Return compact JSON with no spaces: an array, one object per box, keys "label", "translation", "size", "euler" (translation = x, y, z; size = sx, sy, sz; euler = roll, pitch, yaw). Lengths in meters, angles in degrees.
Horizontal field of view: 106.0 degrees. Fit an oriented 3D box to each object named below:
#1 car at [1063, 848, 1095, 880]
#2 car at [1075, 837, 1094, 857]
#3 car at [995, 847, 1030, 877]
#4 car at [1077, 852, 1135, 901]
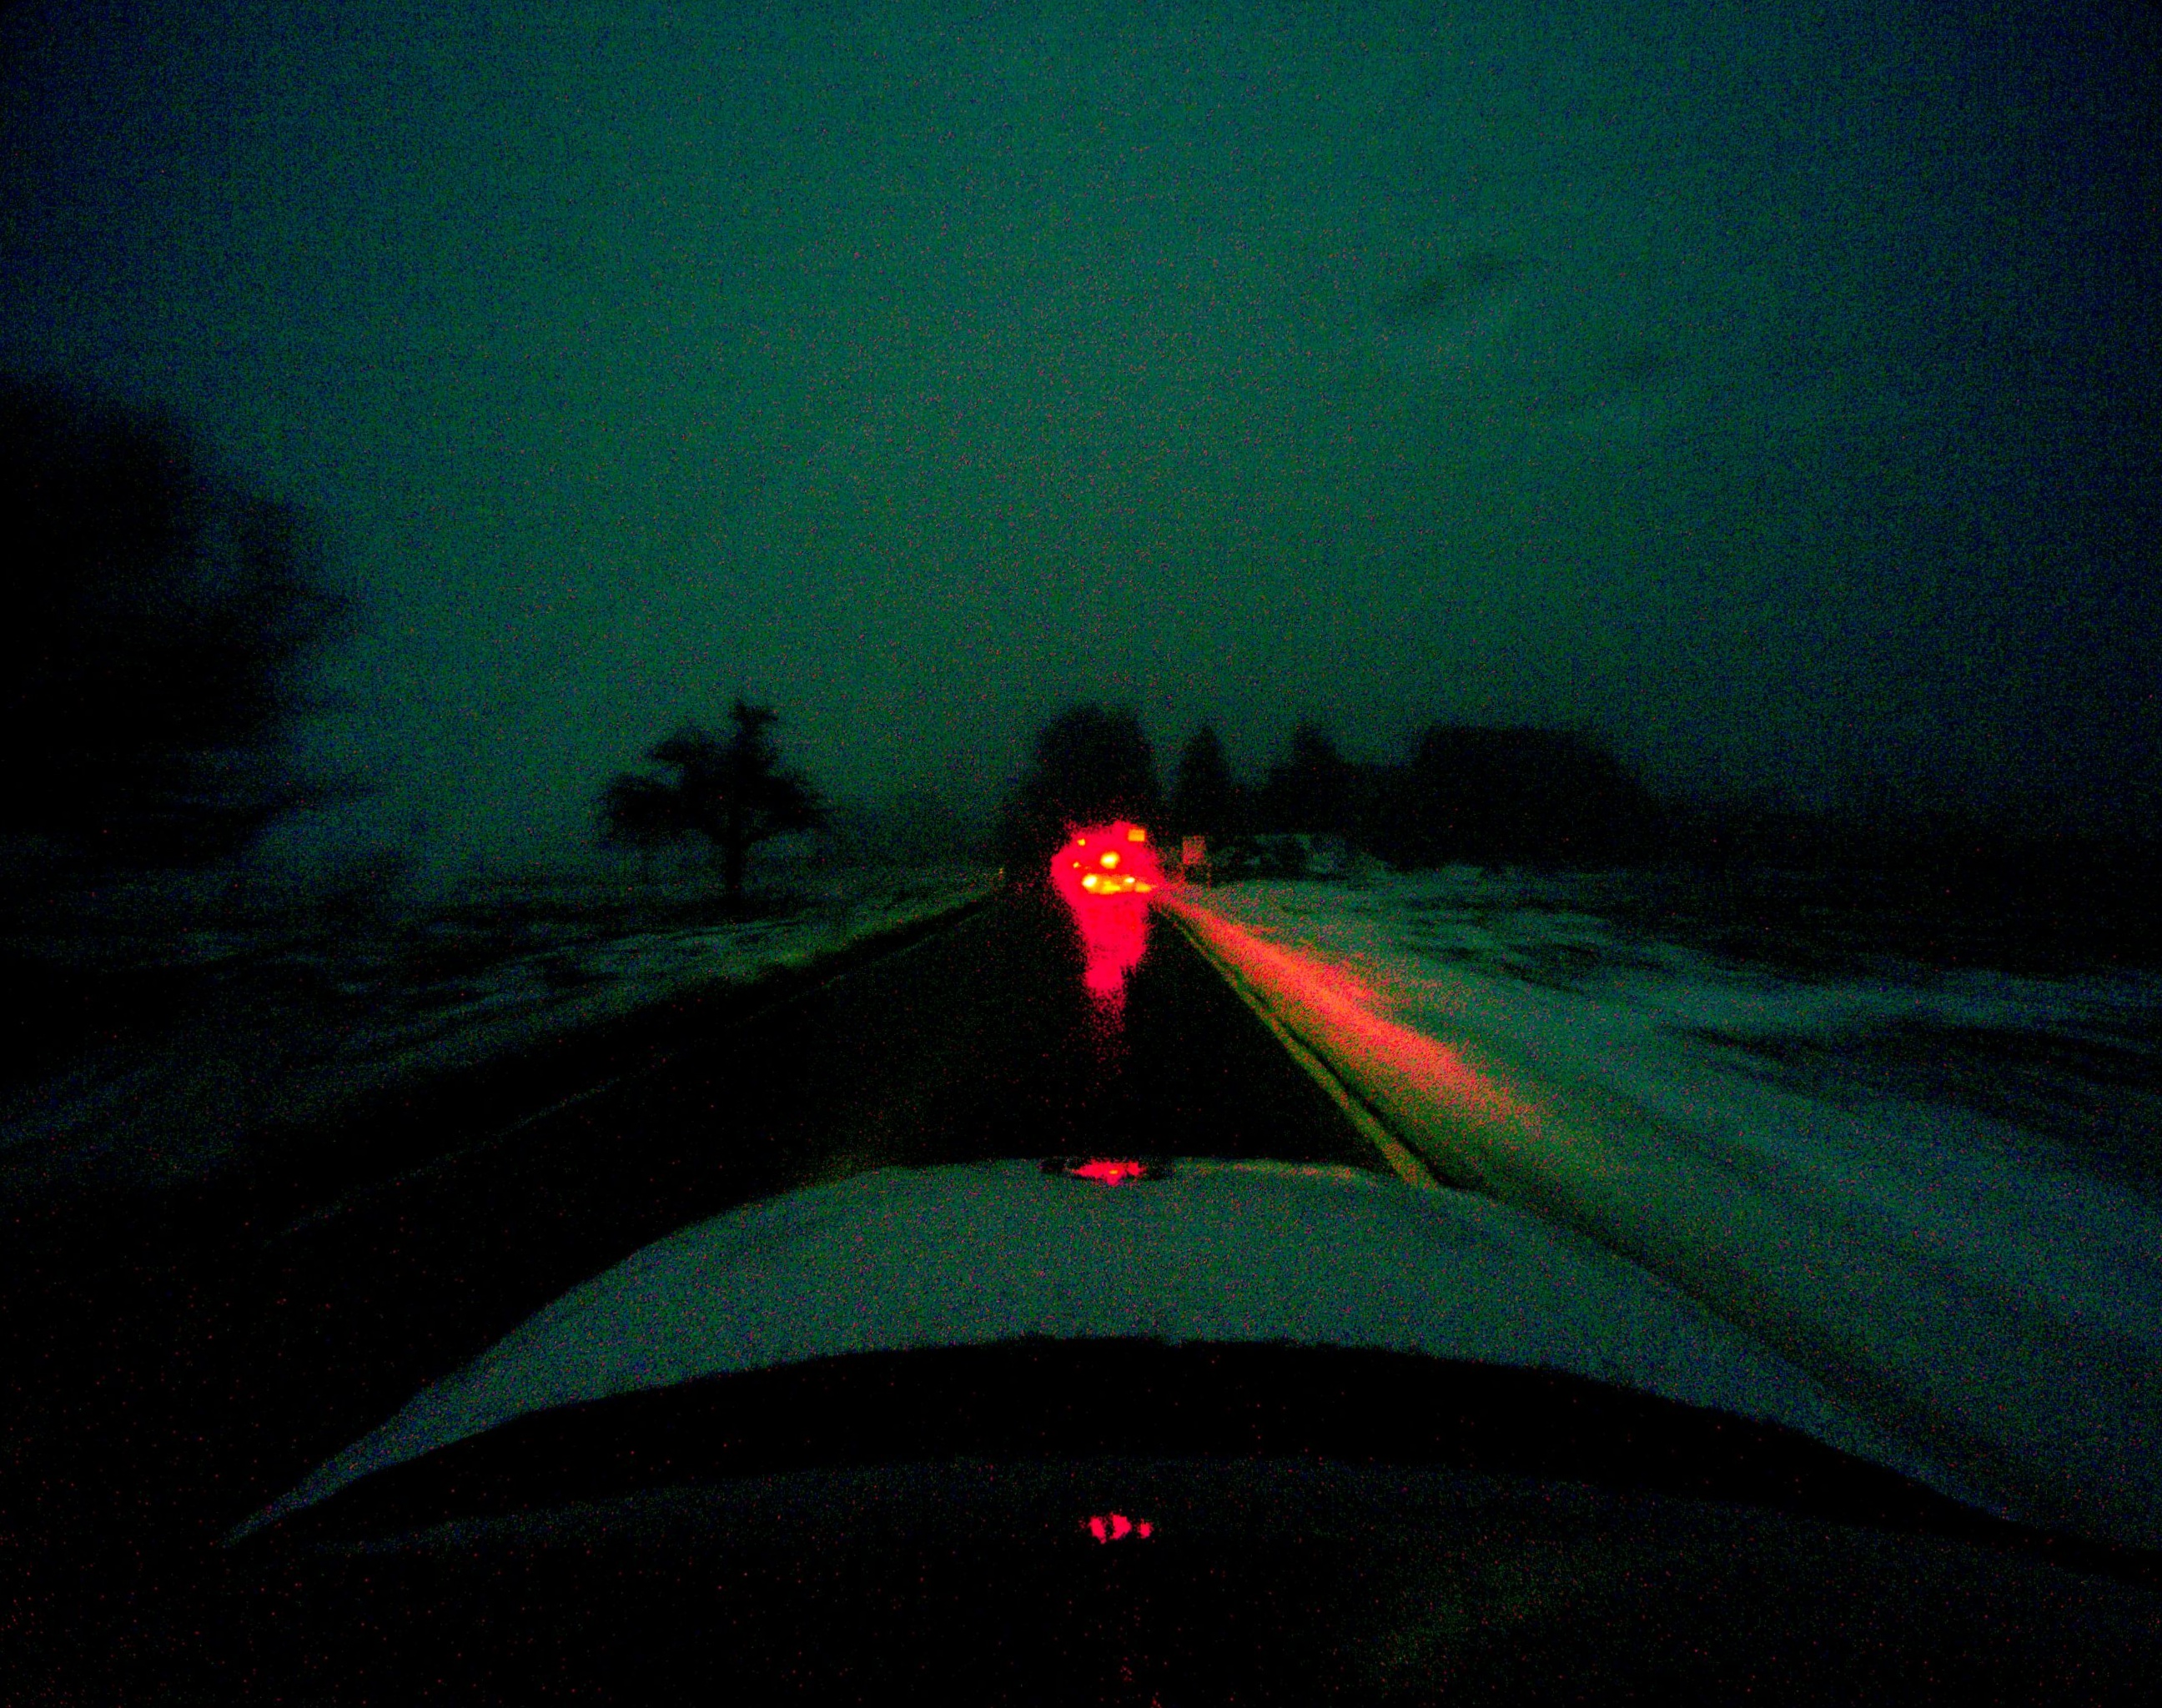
[{"label":"car","translation":[-0.088,0.485,41.227],"size":[1.473,1.508,3.054],"euler":[-2,0,2]},{"label":"car","translation":[0.320,-0.570,66.901],"size":[1.473,1.508,3.054],"euler":[-2,-1,2]},{"label":"car","translation":[-3.693,0.431,44.445],"size":[1.517,1.508,3.054],"euler":[-2,-1,2]},{"label":"car","translation":[0.786,0.763,27.593],"size":[1.702,1.463,3.997],"euler":[2,-2,-2]}]
